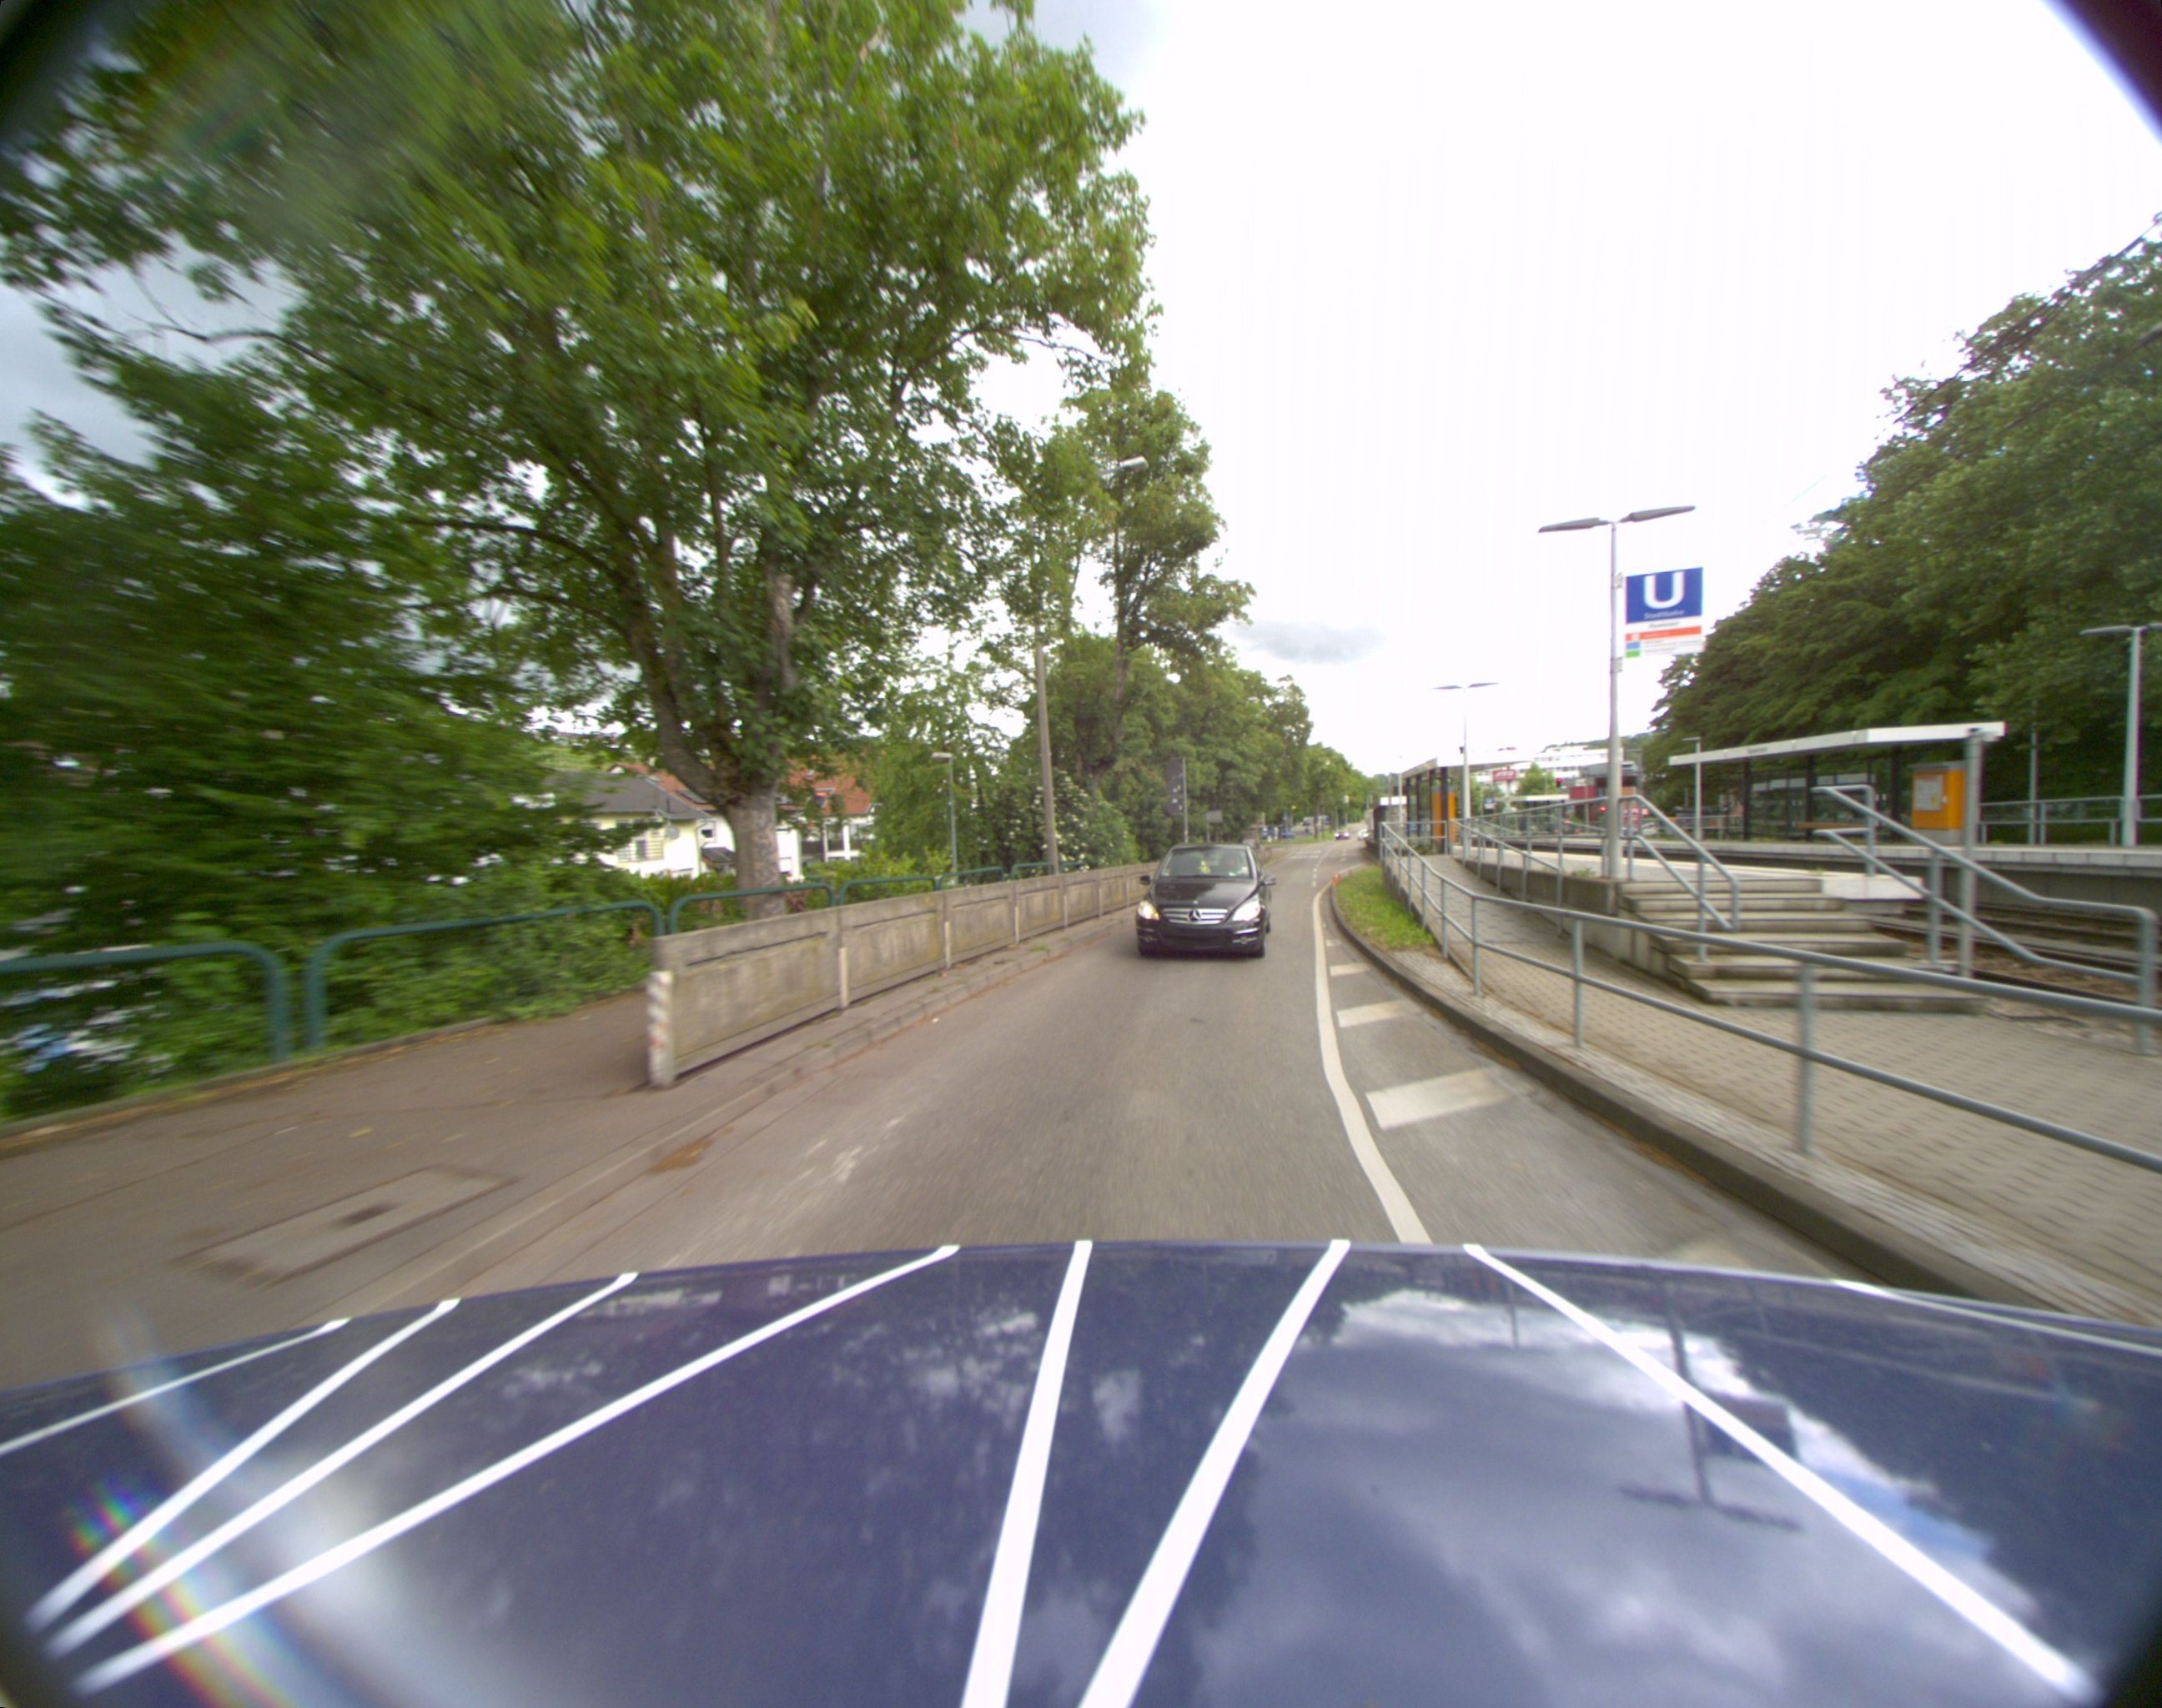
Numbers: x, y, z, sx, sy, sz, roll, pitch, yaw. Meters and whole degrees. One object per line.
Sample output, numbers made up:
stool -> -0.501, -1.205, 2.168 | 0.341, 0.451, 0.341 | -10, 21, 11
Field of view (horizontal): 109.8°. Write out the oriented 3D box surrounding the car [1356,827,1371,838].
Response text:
car -> 38.706, -2.989, 104.142 | 1.701, 1.470, 3.711 | -1, 2, 17

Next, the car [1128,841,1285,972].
car -> 2.146, 0.628, 11.871 | 1.709, 1.574, 4.447 | 0, 2, 19

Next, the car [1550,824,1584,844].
car -> 43.466, -1.821, 68.031 | 1.768, 1.689, 3.798 | 0, 2, 19

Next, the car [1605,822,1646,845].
car -> 45.229, -1.697, 63.210 | 1.738, 1.829, 3.804 | 0, 2, 19

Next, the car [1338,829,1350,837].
car -> 41.104, -3.274, 118.757 | 1.714, 1.277, 3.577 | -1, 2, 17
